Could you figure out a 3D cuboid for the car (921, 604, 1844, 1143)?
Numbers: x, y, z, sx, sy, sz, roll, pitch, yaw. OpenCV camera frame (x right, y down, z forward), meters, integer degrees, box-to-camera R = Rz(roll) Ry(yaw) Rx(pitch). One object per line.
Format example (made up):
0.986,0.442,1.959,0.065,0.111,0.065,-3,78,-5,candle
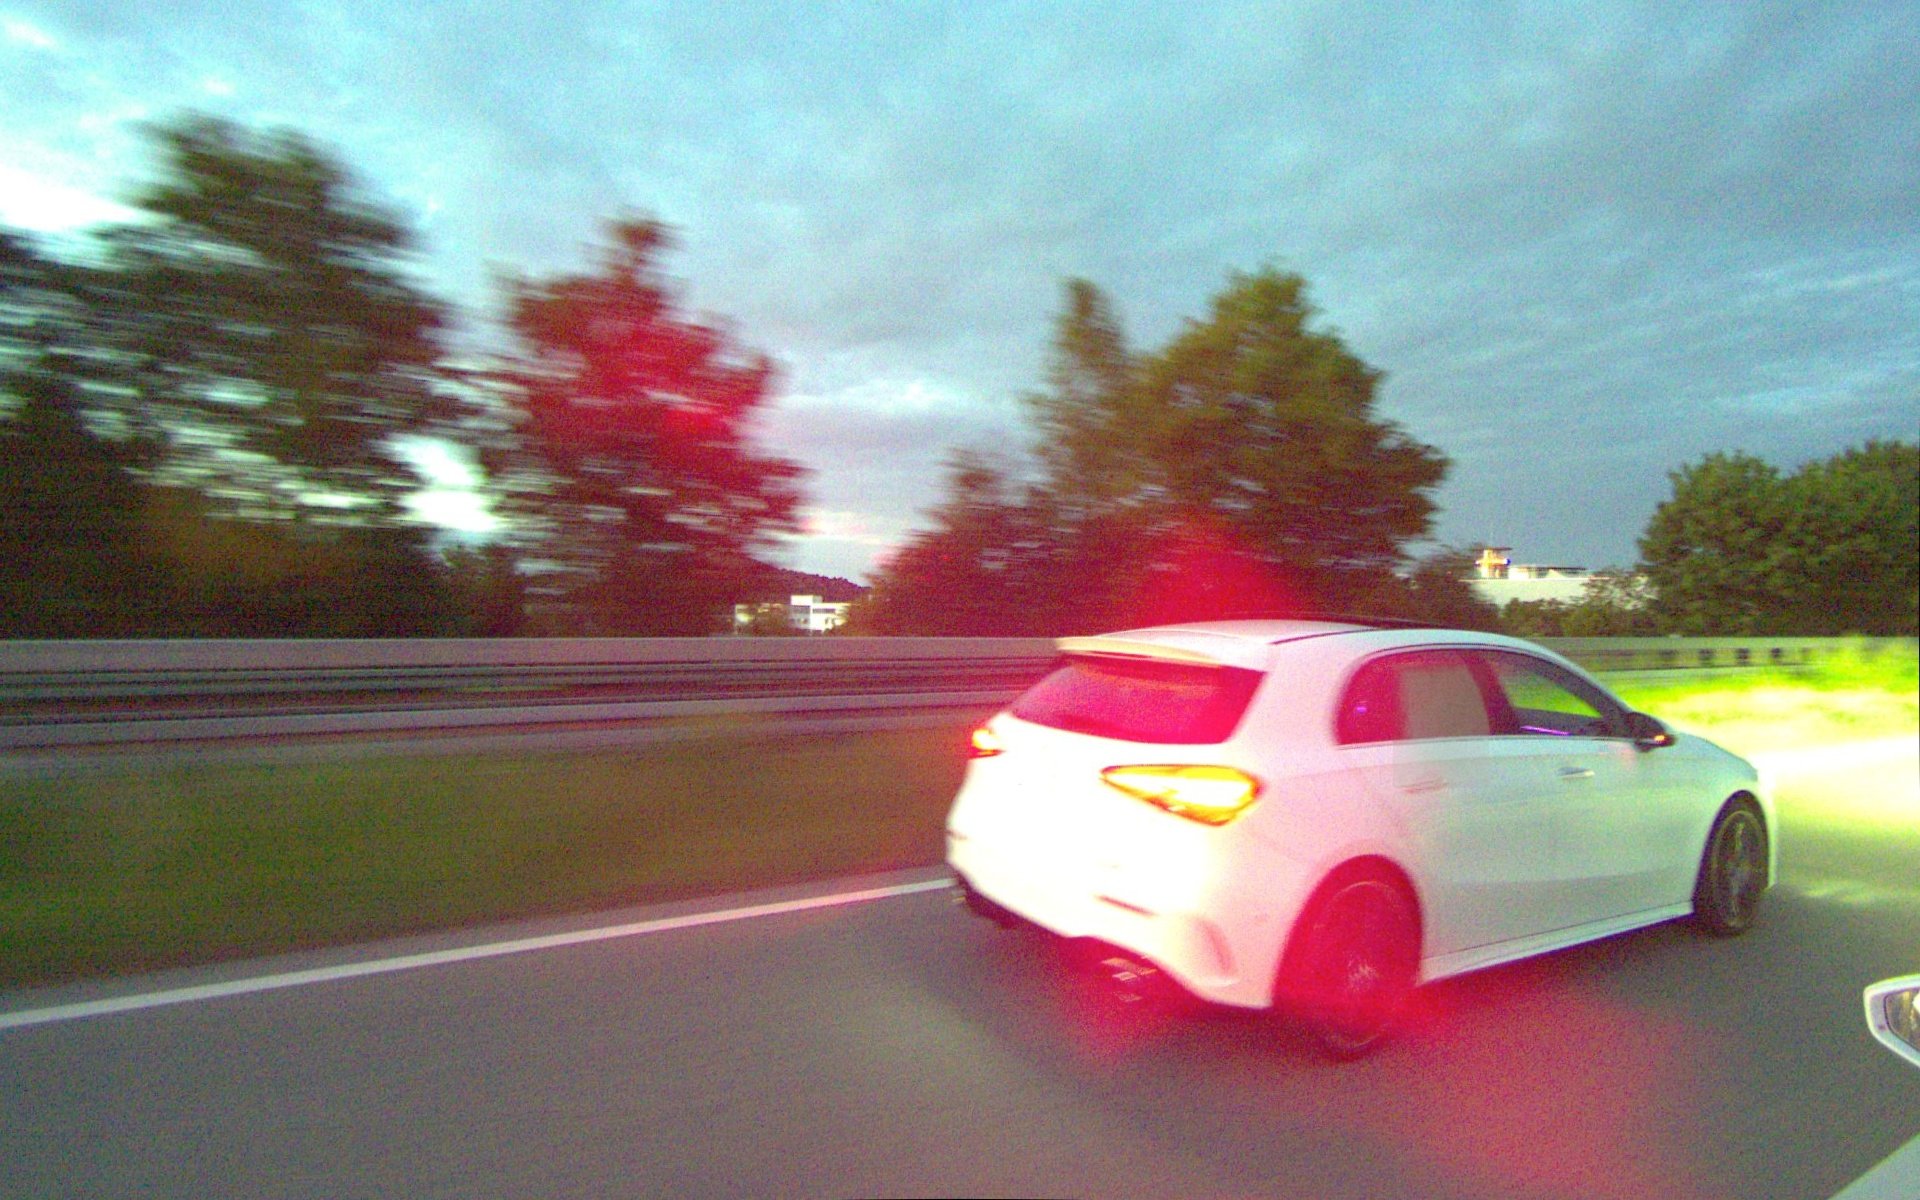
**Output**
2.195,0.832,4.719,4.527,1.510,1.634,2,0,-31,car
